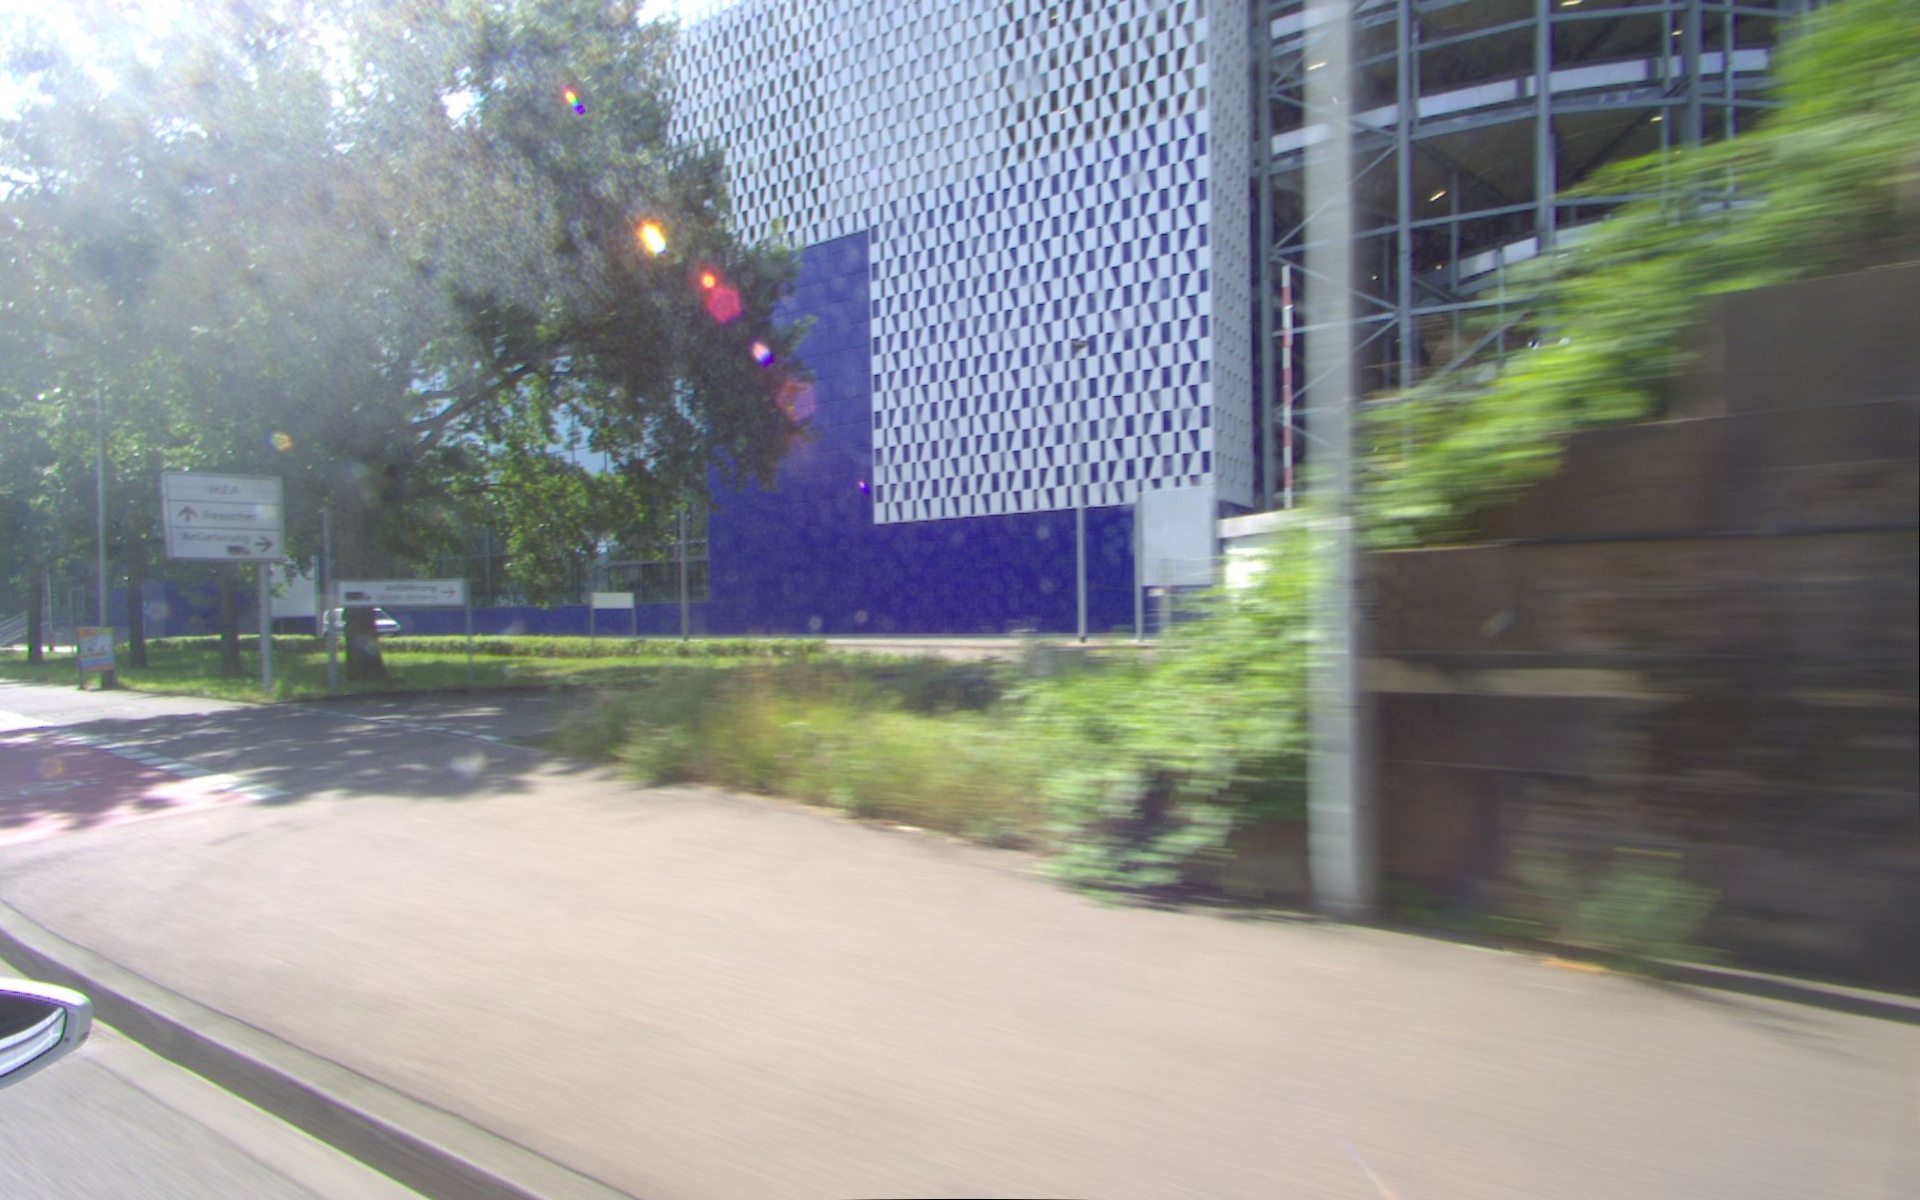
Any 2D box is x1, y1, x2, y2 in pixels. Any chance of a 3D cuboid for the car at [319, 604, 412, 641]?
[{"bbox_3d":[-27.777,1.088,46.760,4.239,1.660,1.849,-1,-2,29],"label":"car"}]
